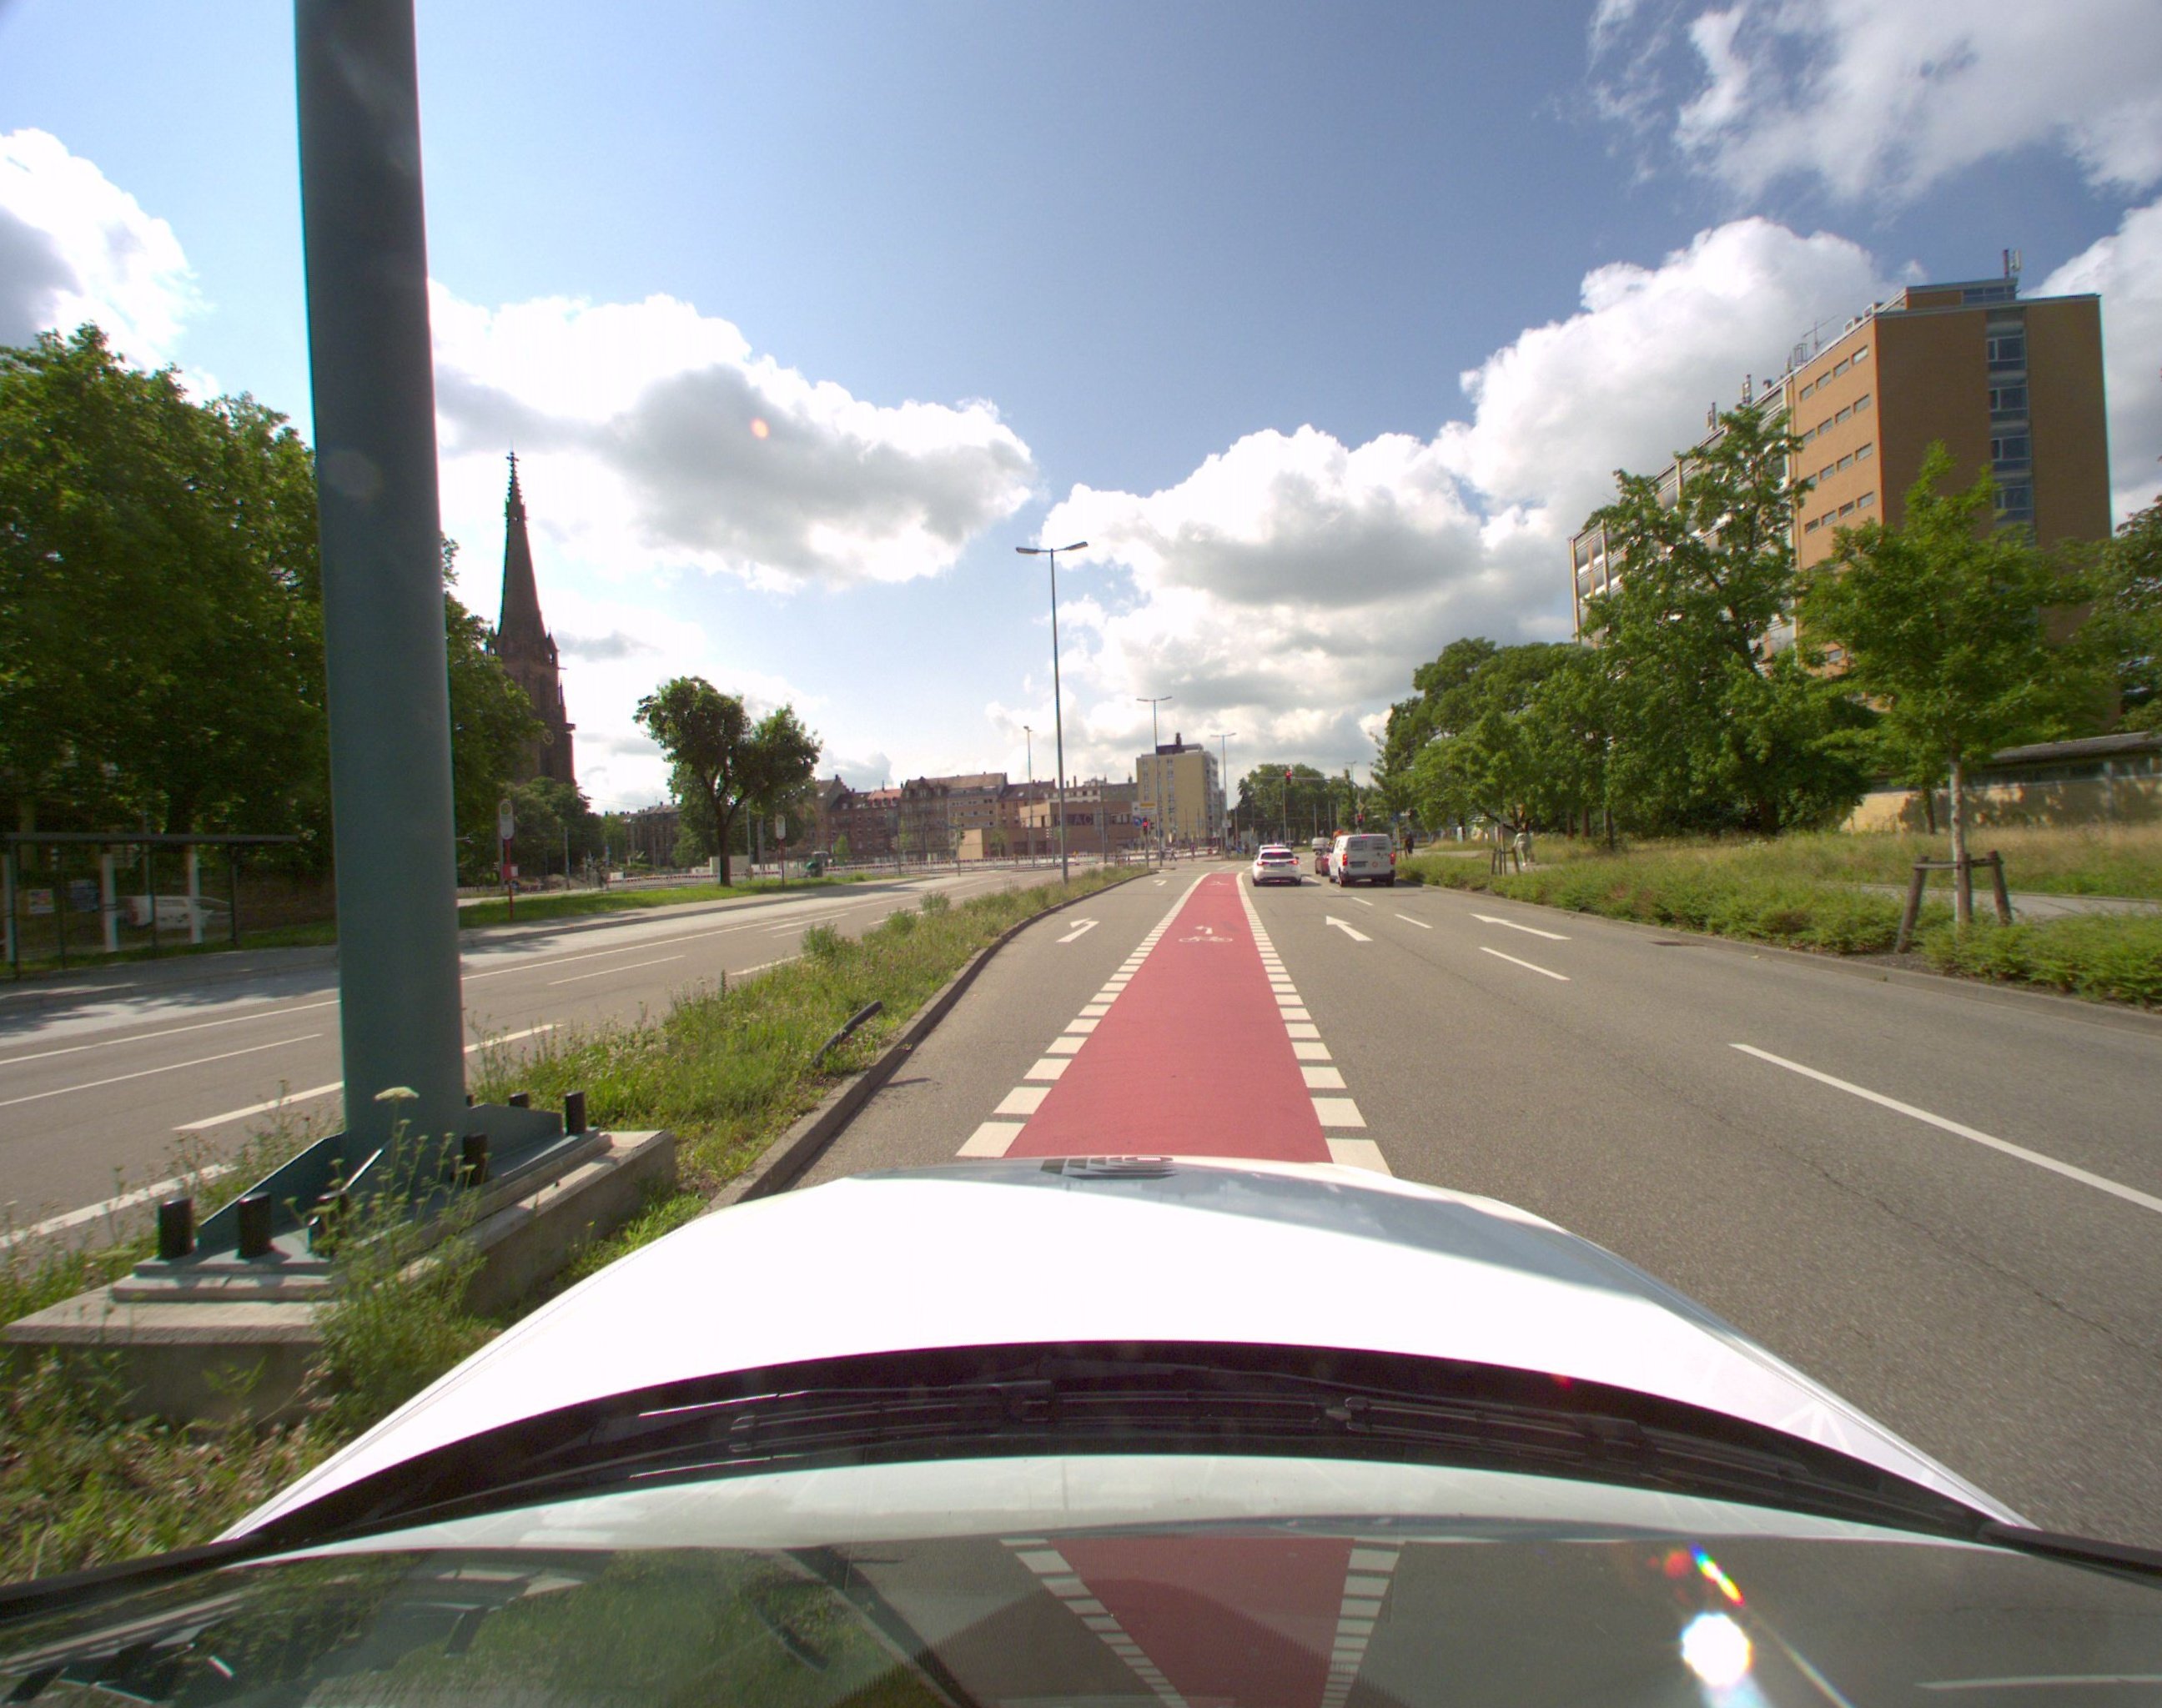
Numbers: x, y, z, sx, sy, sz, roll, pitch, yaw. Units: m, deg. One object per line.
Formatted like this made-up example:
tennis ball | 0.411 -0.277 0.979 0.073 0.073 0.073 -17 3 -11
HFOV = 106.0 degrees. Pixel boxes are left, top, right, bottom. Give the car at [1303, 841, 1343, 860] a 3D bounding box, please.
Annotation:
car | 23.315 -0.327 78.372 1.975 1.816 4.023 0 0 45

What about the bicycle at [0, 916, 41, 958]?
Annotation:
bicycle | -28.195 2.186 21.023 0.471 1.011 1.956 -3 0 -11

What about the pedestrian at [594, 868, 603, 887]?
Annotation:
pedestrian | -49.750 2.435 83.890 0.523 1.850 0.501 -3 0 17

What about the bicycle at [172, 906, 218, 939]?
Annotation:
bicycle | -30.229 2.336 27.791 0.352 1.011 1.250 -3 0 -11

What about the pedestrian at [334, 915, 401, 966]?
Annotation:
pedestrian | -14.770 1.779 16.873 0.690 0.963 0.745 -2 0 8

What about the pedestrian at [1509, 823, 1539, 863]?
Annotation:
pedestrian | 18.728 -0.445 34.447 0.862 1.638 0.723 -3 0 11

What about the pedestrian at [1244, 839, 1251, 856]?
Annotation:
pedestrian | 16.843 -0.648 82.452 0.520 1.684 0.627 -3 0 19

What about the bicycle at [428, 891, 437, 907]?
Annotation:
bicycle | -41.511 2.899 52.142 0.396 0.992 1.505 -2 0 -38

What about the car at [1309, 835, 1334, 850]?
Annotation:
car | 34.284 -1.674 115.880 1.986 1.966 4.669 -3 0 34

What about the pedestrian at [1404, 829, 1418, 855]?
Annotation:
pedestrian | 22.670 -0.806 55.992 0.737 1.735 0.681 -3 0 13

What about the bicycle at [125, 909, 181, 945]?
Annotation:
bicycle | -29.768 2.315 26.142 0.391 1.011 1.365 -3 0 -11

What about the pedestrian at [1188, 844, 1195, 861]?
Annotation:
pedestrian | 11.170 -0.179 82.335 0.520 1.733 0.627 -3 0 19

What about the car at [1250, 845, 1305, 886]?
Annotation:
car | 7.776 0.402 32.617 1.891 1.424 4.398 -3 0 11

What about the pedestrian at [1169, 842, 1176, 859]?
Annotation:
pedestrian | 9.392 -0.318 83.934 0.520 1.733 0.627 -3 0 20

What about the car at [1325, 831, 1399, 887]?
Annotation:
car | 10.501 0.133 30.766 1.930 1.870 4.840 -3 0 11

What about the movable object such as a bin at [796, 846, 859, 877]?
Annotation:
movable object such as a bin | -25.782 0.771 82.832 5.568 2.884 2.262 -3 0 -37

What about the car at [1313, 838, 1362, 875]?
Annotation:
car | 12.281 0.070 39.256 1.670 1.641 4.476 -2 0 10

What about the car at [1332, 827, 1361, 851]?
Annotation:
car | 33.232 -1.890 101.977 2.109 2.780 4.669 -3 0 34

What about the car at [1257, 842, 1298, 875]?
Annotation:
car | 9.818 0.204 40.975 1.779 1.539 4.023 -1 1 11

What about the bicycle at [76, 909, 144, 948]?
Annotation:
bicycle | -29.210 2.216 24.521 0.471 1.011 1.450 -3 0 -11
